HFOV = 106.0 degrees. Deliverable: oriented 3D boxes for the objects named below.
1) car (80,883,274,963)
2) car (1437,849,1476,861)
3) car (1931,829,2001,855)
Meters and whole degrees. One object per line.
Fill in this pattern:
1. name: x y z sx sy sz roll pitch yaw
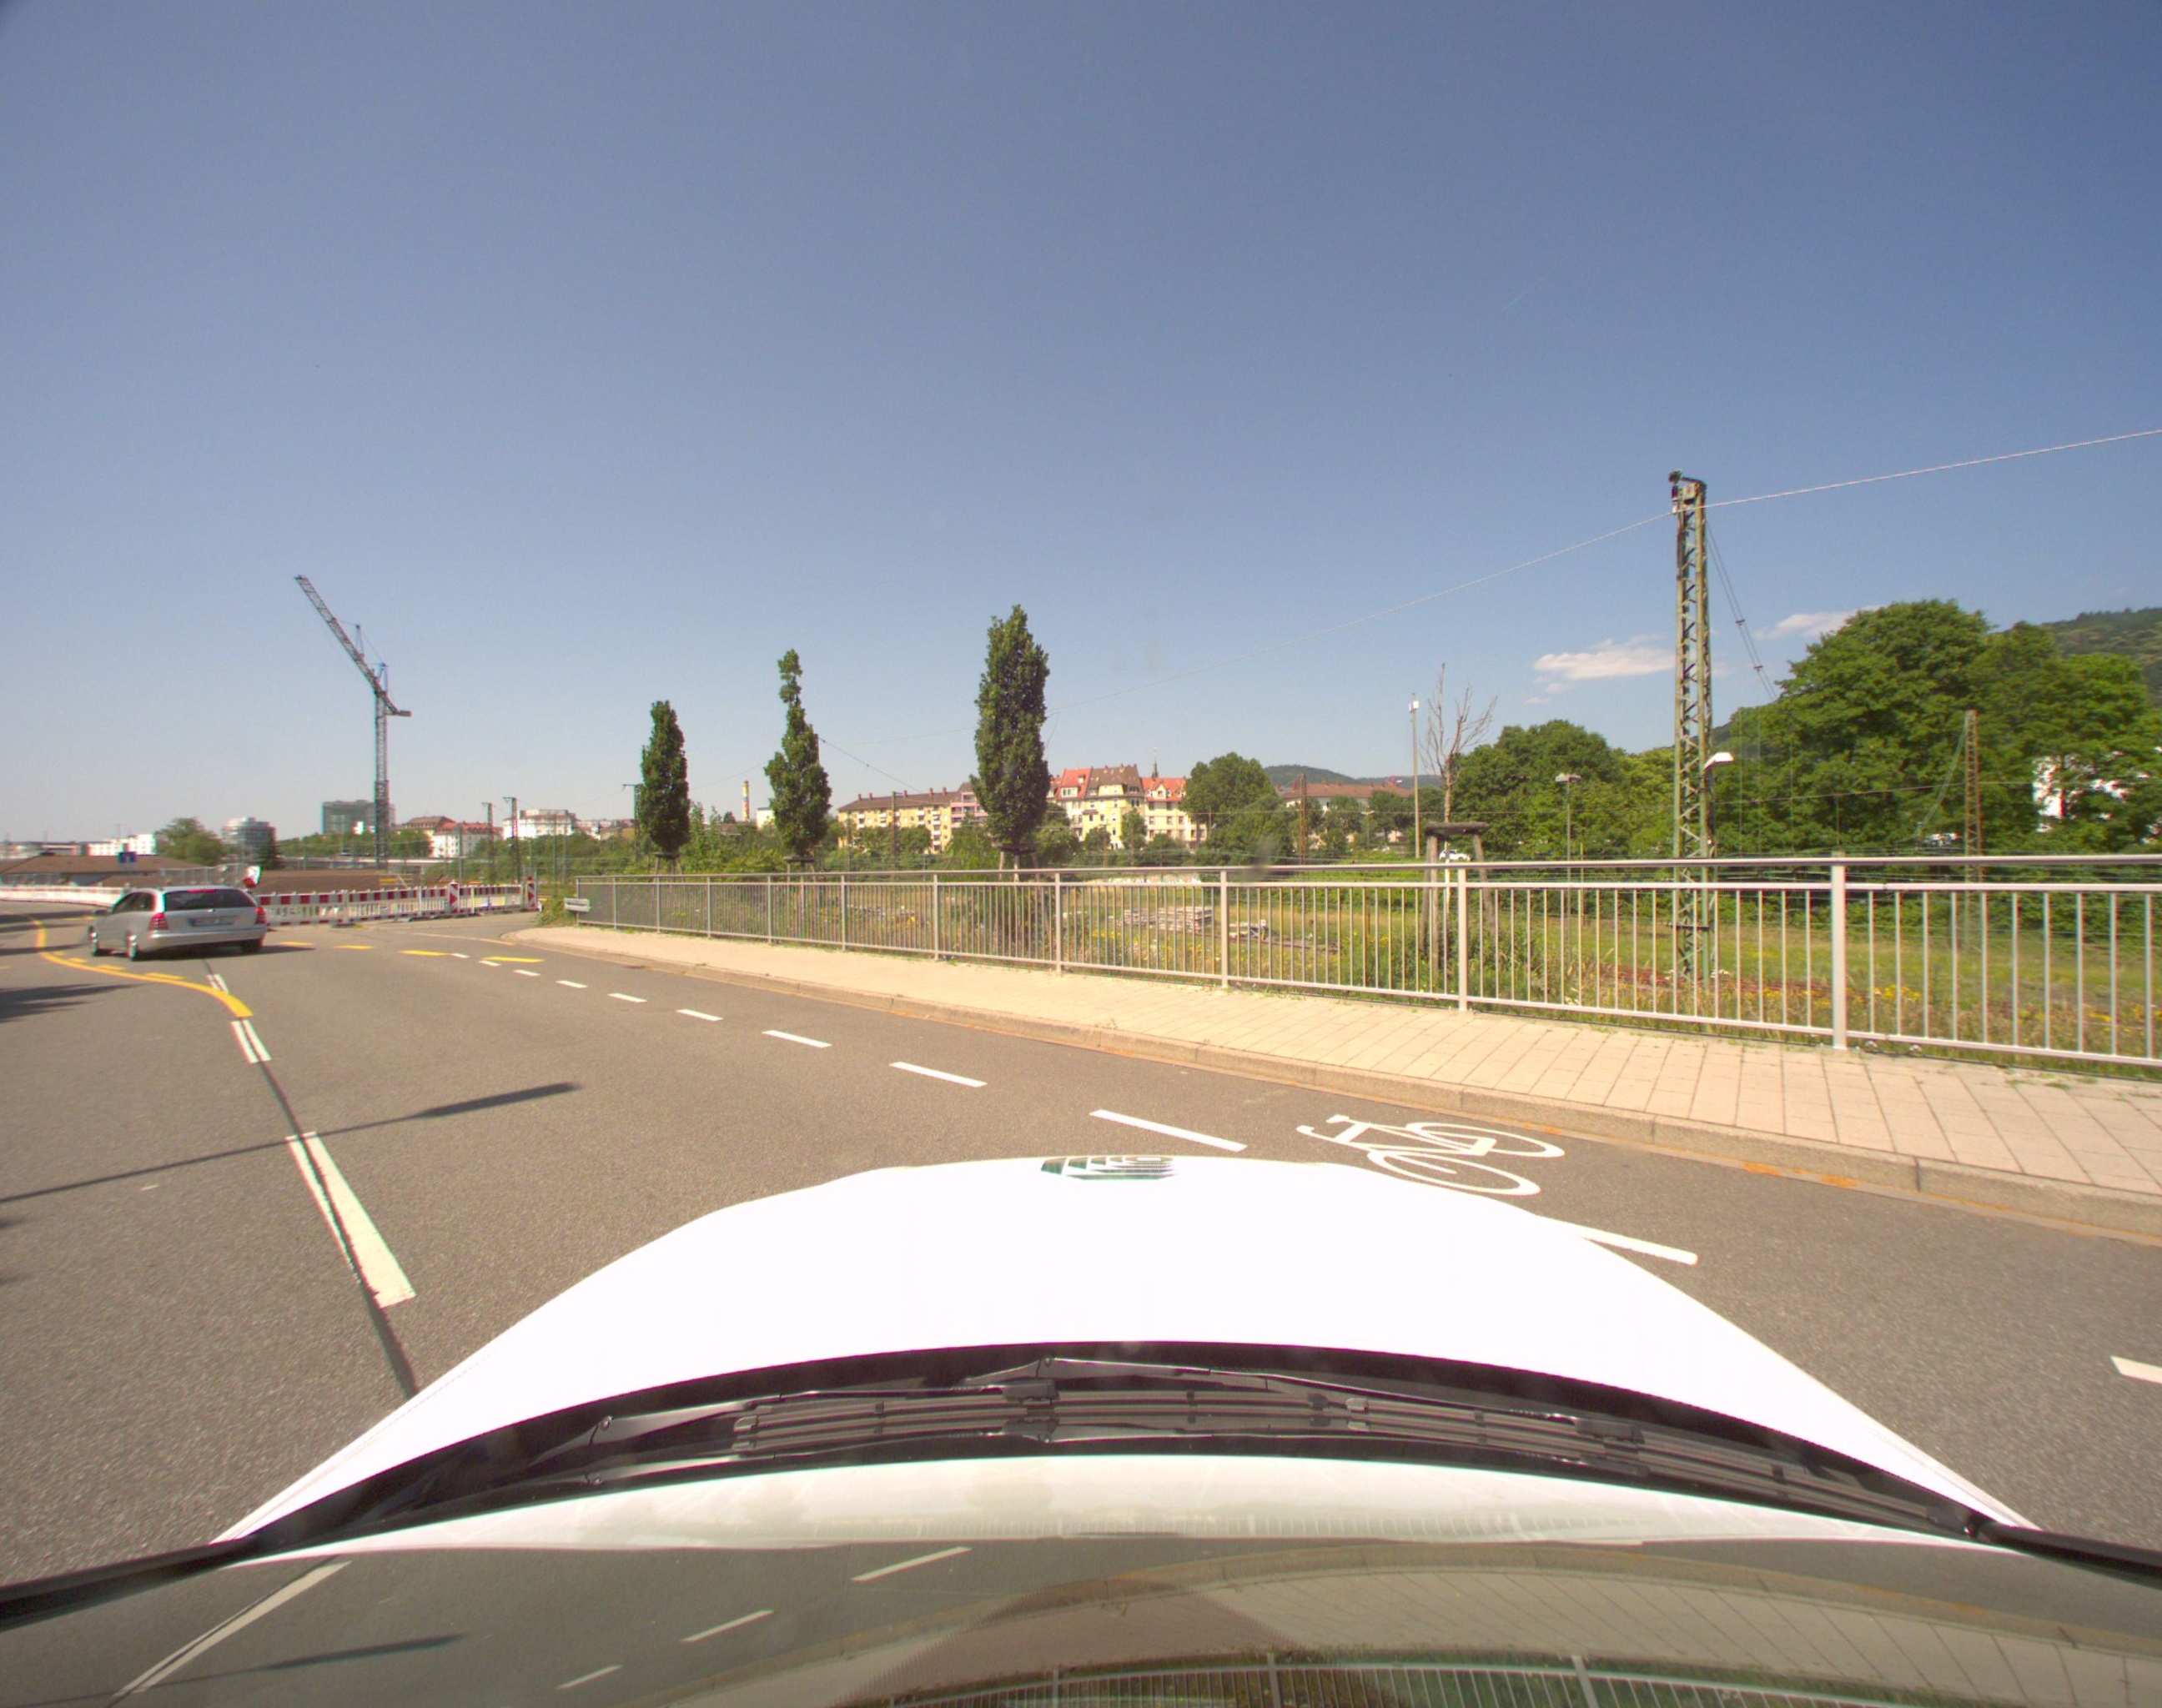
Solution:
1. car: -18.300 1.313 16.454 4.330 1.404 1.724 -1 -1 30
2. car: 46.307 0.175 100.439 1.866 1.367 4.287 -1 0 -19
3. car: 78.596 -1.050 72.357 1.761 2.014 3.894 3 -4 -31
